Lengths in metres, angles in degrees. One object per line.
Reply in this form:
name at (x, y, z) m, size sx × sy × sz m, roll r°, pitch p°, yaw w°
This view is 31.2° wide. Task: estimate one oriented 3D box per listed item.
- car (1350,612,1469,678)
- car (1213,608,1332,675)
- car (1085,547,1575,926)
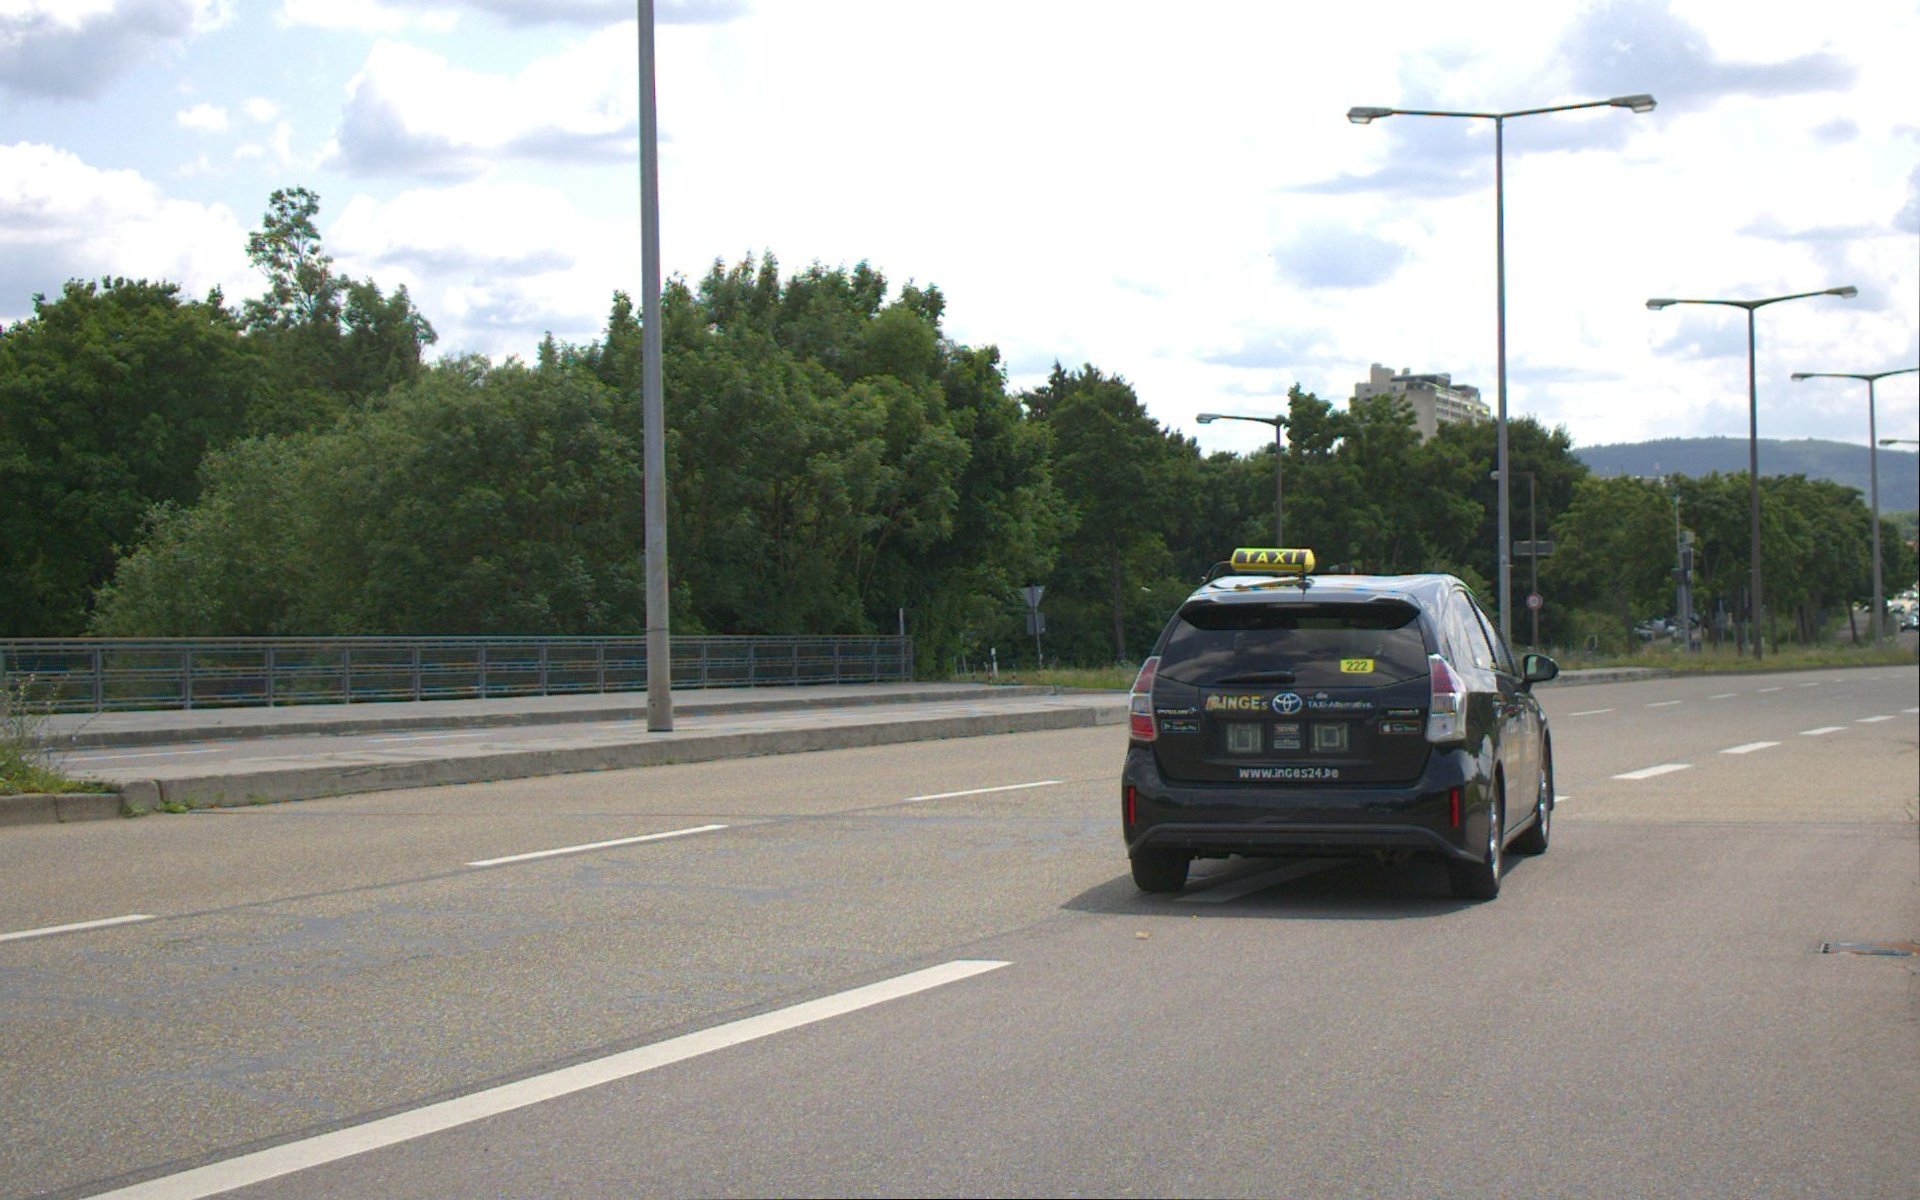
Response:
car at (10.725, 1.045, 81.842) m, size 1.665 × 1.408 × 4.545 m, roll -3°, pitch -1°, yaw 22°
car at (8.230, 1.059, 90.118) m, size 2.090 × 1.621 × 4.546 m, roll 1°, pitch 1°, yaw 19°
car at (2.006, 0.586, 17.550) m, size 1.781 × 1.678 × 3.997 m, roll 1°, pitch 1°, yaw 16°
